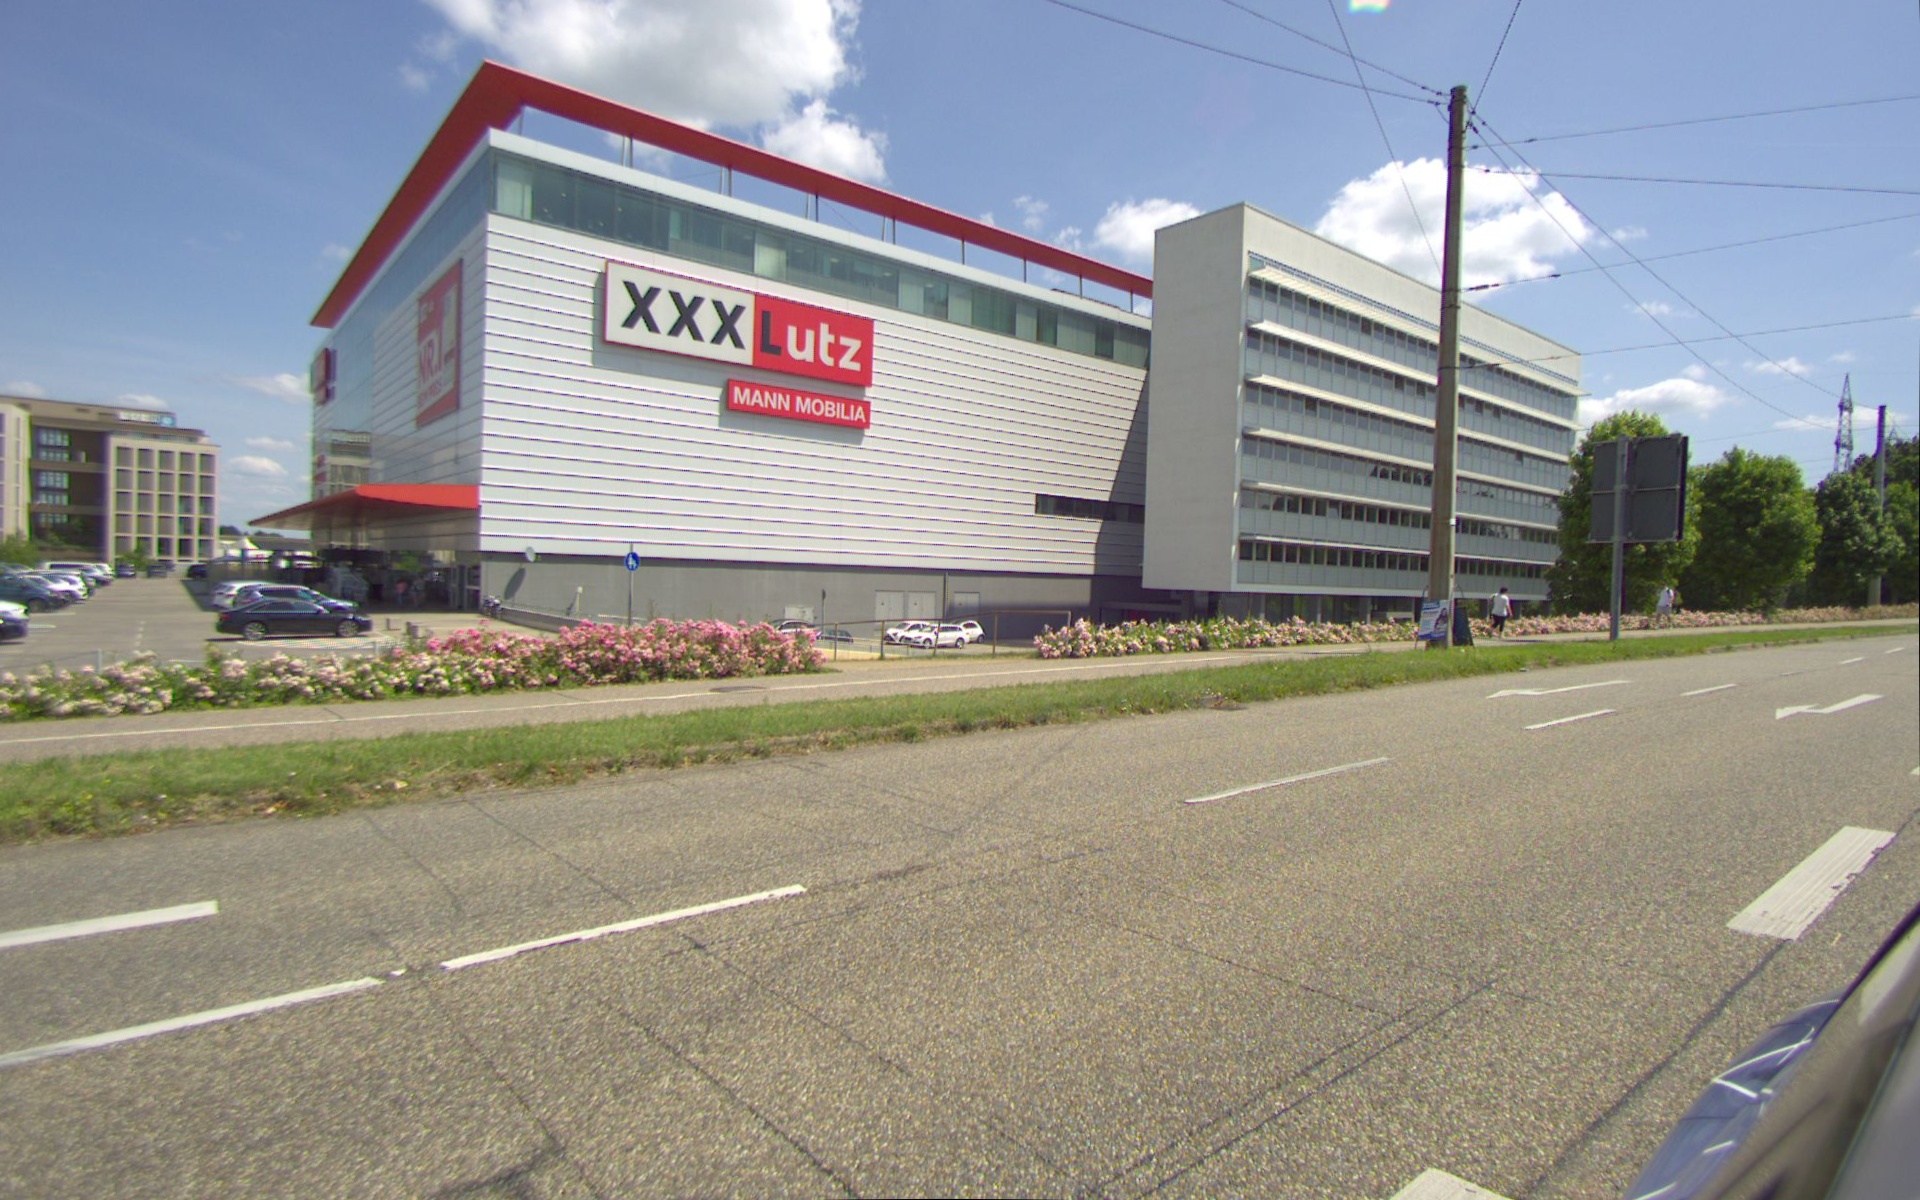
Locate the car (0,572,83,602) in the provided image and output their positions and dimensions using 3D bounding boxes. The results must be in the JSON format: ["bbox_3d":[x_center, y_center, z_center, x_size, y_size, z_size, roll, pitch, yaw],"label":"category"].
[{"bbox_3d":[-52.969,-0.736,57.373,4.913,1.631,1.997,-1,1,-41],"label":"car"}]

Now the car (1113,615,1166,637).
[{"bbox_3d":[12.691,1.825,71.552,3.930,1.338,1.607,-1,1,-41],"label":"car"}]

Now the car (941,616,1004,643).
[{"bbox_3d":[0.864,1.986,68.581,3.930,1.632,1.997,-1,1,-41],"label":"car"}]

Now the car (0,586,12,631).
[{"bbox_3d":[-36.583,0.314,35.383,4.913,1.631,1.997,-1,1,-41],"label":"car"}]

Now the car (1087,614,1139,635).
[{"bbox_3d":[11.138,1.759,73.626,3.930,1.403,1.646,-1,1,-41],"label":"car"}]

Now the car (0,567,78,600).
[{"bbox_3d":[-57.891,-1.033,63.375,3.930,2.039,1.997,-1,1,-41],"label":"car"}]

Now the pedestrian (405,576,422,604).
[{"bbox_3d":[-31.679,-0.582,58.706,0.723,1.577,0.741,0,0,-42],"label":"pedestrian"}]

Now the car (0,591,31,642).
[{"bbox_3d":[-32.912,0.549,32.167,4.913,1.631,1.997,-1,1,-41],"label":"car"}]

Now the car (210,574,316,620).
[{"bbox_3d":[-32.815,-0.178,47.658,3.930,2.039,1.997,-1,1,-41],"label":"car"}]

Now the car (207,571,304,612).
[{"bbox_3d":[-36.142,-0.450,51.972,3.930,2.039,1.997,-1,1,-41],"label":"car"}]

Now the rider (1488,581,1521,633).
[{"bbox_3d":[15.697,0.185,29.164,0.607,1.476,0.670,0,1,-41],"label":"rider"}]

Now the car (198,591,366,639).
[{"bbox_3d":[-24.761,0.481,37.059,4.913,1.631,1.997,-1,1,-41],"label":"car"}]

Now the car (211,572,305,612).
[{"bbox_3d":[-37.570,-0.458,54.204,3.930,2.039,1.997,-1,1,-41],"label":"car"}]

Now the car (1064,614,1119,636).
[{"bbox_3d":[9.788,1.817,75.308,3.930,1.465,1.997,-1,1,-41],"label":"car"}]

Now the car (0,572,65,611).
[{"bbox_3d":[-46.977,-0.428,49.297,5.094,1.888,1.996,-1,1,-42],"label":"car"}]

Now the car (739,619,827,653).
[{"bbox_3d":[-9.839,1.980,56.441,4.509,1.632,1.997,-1,1,-41],"label":"car"}]

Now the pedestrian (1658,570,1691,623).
[{"bbox_3d":[25.720,-0.124,36.433,0.913,1.872,0.758,0,0,-38],"label":"pedestrian"}]

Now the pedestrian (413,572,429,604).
[{"bbox_3d":[-31.897,-0.723,59.896,0.723,1.892,0.741,0,0,-42],"label":"pedestrian"}]

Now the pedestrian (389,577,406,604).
[{"bbox_3d":[-32.811,-0.567,59.031,0.723,1.577,0.741,0,0,-42],"label":"pedestrian"}]

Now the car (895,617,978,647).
[{"bbox_3d":[-1.415,1.952,63.076,5.057,1.632,1.997,-1,1,-41],"label":"car"}]

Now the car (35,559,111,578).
[{"bbox_3d":[-77.247,-2.729,88.266,4.913,1.631,1.997,-1,1,-41],"label":"car"}]

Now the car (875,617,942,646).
[{"bbox_3d":[-3.321,2.004,65.029,3.930,1.632,1.997,-1,1,-41],"label":"car"}]

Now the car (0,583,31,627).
[{"bbox_3d":[-38.085,0.188,37.784,4.913,1.671,1.997,-1,1,-41],"label":"car"}]

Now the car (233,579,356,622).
[{"bbox_3d":[-28.847,0.006,43.900,4.257,1.804,1.997,-1,0,-41],"label":"car"}]
